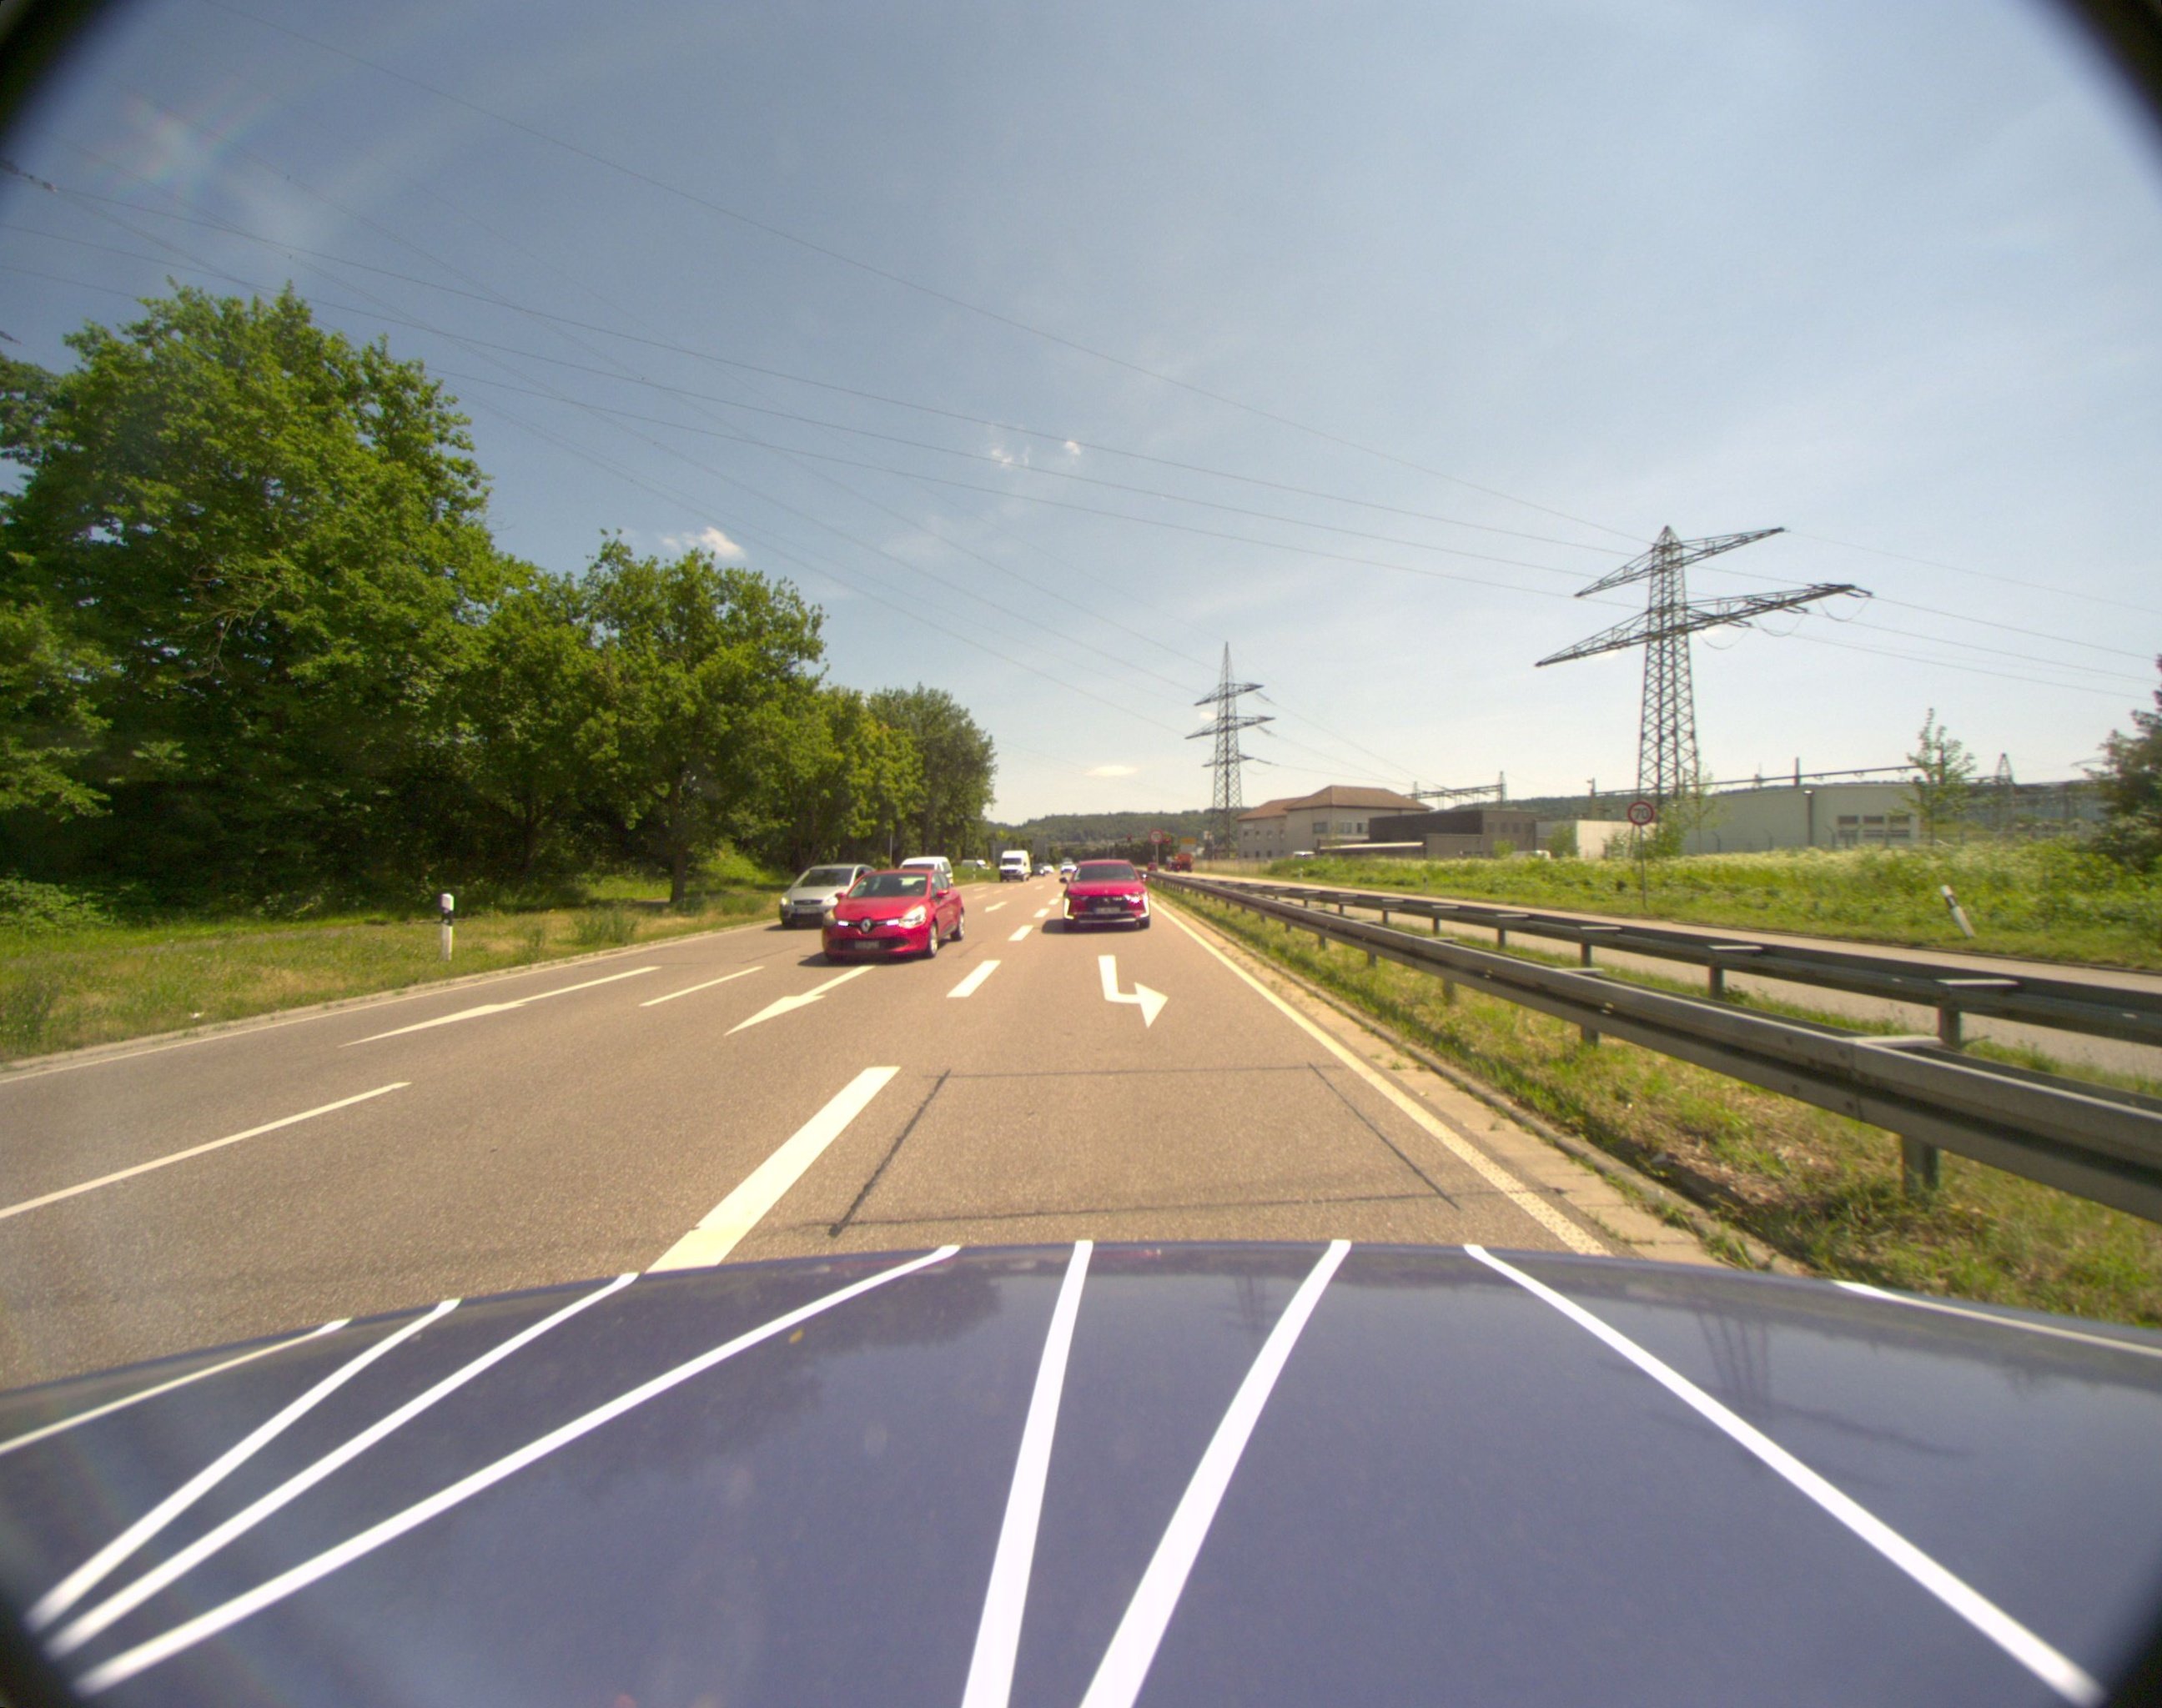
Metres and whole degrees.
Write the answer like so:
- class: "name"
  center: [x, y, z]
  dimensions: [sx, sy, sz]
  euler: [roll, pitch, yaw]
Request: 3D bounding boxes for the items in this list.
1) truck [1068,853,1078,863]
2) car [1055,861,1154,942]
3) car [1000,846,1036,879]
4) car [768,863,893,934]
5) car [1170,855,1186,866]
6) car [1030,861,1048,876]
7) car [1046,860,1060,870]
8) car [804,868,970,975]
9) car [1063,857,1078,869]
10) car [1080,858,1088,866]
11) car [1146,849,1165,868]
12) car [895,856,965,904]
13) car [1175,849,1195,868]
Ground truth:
- class: "truck"
  center: [-1.994, 1.058, 190.205]
  dimensions: [2.170, 2.428, 4.910]
  euler: [-2, 1, -1]
- class: "car"
  center: [0.520, 0.935, 16.843]
  dimensions: [1.846, 1.453, 4.414]
  euler: [-2, 0, 2]
- class: "car"
  center: [-5.315, 0.679, 64.969]
  dimensions: [2.232, 2.592, 7.019]
  euler: [-2, 0, 1]
- class: "car"
  center: [-6.482, 1.092, 20.176]
  dimensions: [1.747, 1.585, 4.273]
  euler: [-2, 0, 2]
- class: "car"
  center: [16.932, 1.145, 132.943]
  dimensions: [1.999, 1.904, 3.998]
  euler: [-2, 1, -2]
- class: "car"
  center: [-4.971, 1.730, 91.060]
  dimensions: [1.878, 1.674, 3.999]
  euler: [-2, 1, -1]
- class: "car"
  center: [-4.395, 1.679, 117.916]
  dimensions: [1.850, 1.559, 4.148]
  euler: [-2, 0, 2]
- class: "car"
  center: [-3.156, 1.040, 13.244]
  dimensions: [1.747, 1.453, 4.065]
  euler: [-2, 0, 1]
- class: "car"
  center: [-1.419, 1.250, 103.109]
  dimensions: [1.850, 1.559, 4.364]
  euler: [-2, 0, 2]
- class: "car"
  center: [0.645, 1.738, 175.528]
  dimensions: [1.878, 1.674, 3.999]
  euler: [-2, 1, -1]
- class: "car"
  center: [12.451, 0.753, 127.582]
  dimensions: [2.606, 3.043, 5.639]
  euler: [0, 0, 1]
- class: "car"
  center: [-6.229, 1.011, 31.924]
  dimensions: [1.809, 1.790, 5.038]
  euler: [-2, 0, 1]
- class: "car"
  center: [16.561, 0.708, 121.139]
  dimensions: [2.606, 3.043, 5.639]
  euler: [0, 0, 1]
